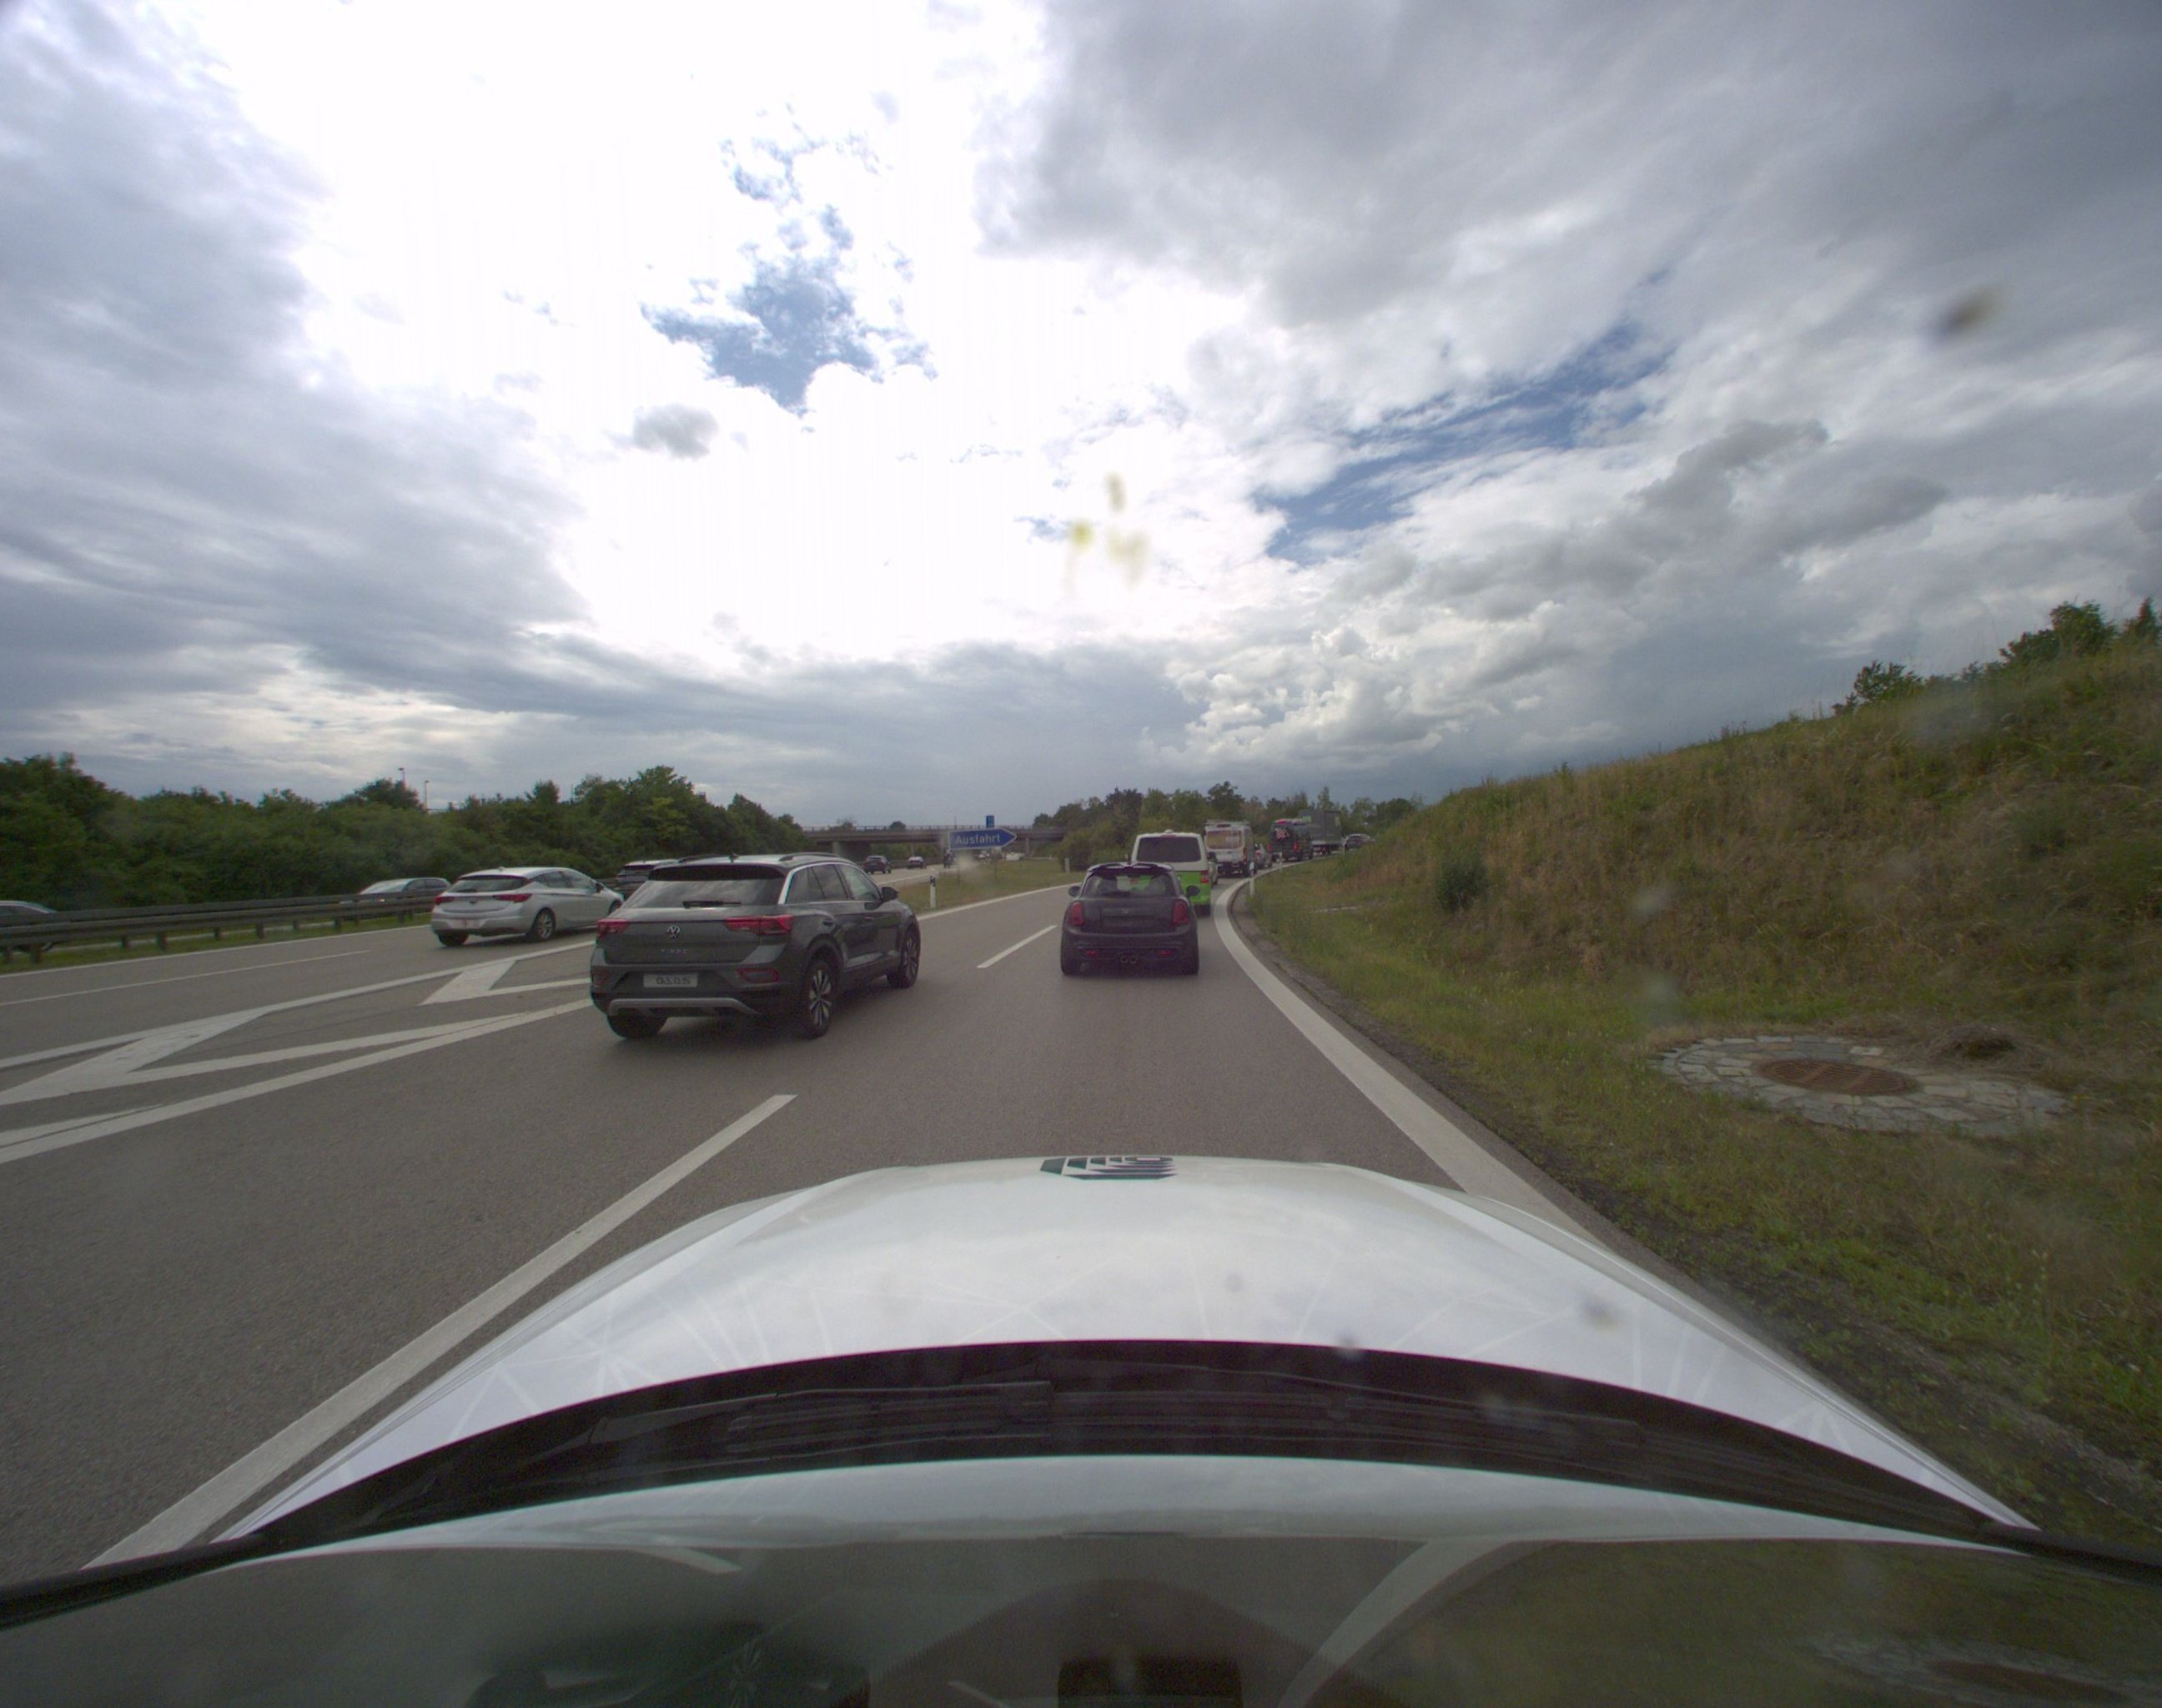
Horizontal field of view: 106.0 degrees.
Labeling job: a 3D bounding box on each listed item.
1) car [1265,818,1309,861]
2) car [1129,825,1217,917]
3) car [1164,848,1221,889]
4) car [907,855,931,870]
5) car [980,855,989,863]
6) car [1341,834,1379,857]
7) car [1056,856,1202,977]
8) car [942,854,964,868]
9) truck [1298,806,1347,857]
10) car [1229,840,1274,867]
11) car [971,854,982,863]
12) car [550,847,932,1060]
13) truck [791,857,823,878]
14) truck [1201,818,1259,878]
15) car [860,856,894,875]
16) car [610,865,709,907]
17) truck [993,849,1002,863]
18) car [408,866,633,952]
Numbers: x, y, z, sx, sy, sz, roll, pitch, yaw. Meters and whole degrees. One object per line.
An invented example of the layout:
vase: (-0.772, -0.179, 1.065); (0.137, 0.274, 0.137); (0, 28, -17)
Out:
car: (14.197, -0.966, 55.881); (2.085, 2.796, 4.024); (0, 1, 27)
car: (2.355, 0.377, 20.044); (1.772, 2.013, 4.013); (-1, 0, 11)
car: (4.307, 0.516, 31.090); (1.750, 1.398, 3.739); (-2, 0, 13)
car: (-19.956, 1.014, 100.419); (2.154, 1.670, 4.303); (-2, 0, -2)
car: (-25.944, 1.316, 218.774); (1.988, 1.968, 3.997); (0, -1, -2)
car: (24.999, -0.741, 72.888); (1.974, 2.014, 4.025); (-1, -1, 38)
car: (0.727, 0.756, 11.613); (1.719, 1.413, 3.730); (-1, 0, 5)
car: (-16.129, 0.905, 102.839); (2.090, 1.670, 4.303); (-2, 0, -2)
truck: (19.427, -1.695, 65.371); (2.207, 3.906, 6.054); (-1, -1, 32)
car: (9.956, -0.048, 47.413); (1.850, 1.510, 4.021); (-1, 0, 21)
car: (-24.754, 1.098, 193.191); (1.988, 1.968, 3.997); (0, -1, -2)
car: (-2.911, 0.763, 8.036); (1.787, 1.556, 3.967); (-1, -1, 5)
truck: (-28.155, 1.403, 83.862); (1.990, 2.013, 4.712); (-2, 0, -4)
truck: (7.277, -0.318, 39.420); (2.162, 2.658, 5.131); (-2, 1, 16)
car: (-18.872, 1.031, 75.502); (2.090, 1.670, 4.303); (-2, 0, -2)
car: (-15.849, 1.153, 30.873); (1.777, 1.398, 4.298); (-2, 0, -5)
truck: (-21.715, 0.538, 211.072); (2.141, 3.507, 3.995); (0, -1, -3)
car: (-11.028, 1.001, 16.436); (1.775, 1.398, 4.026); (-2, 0, -2)
